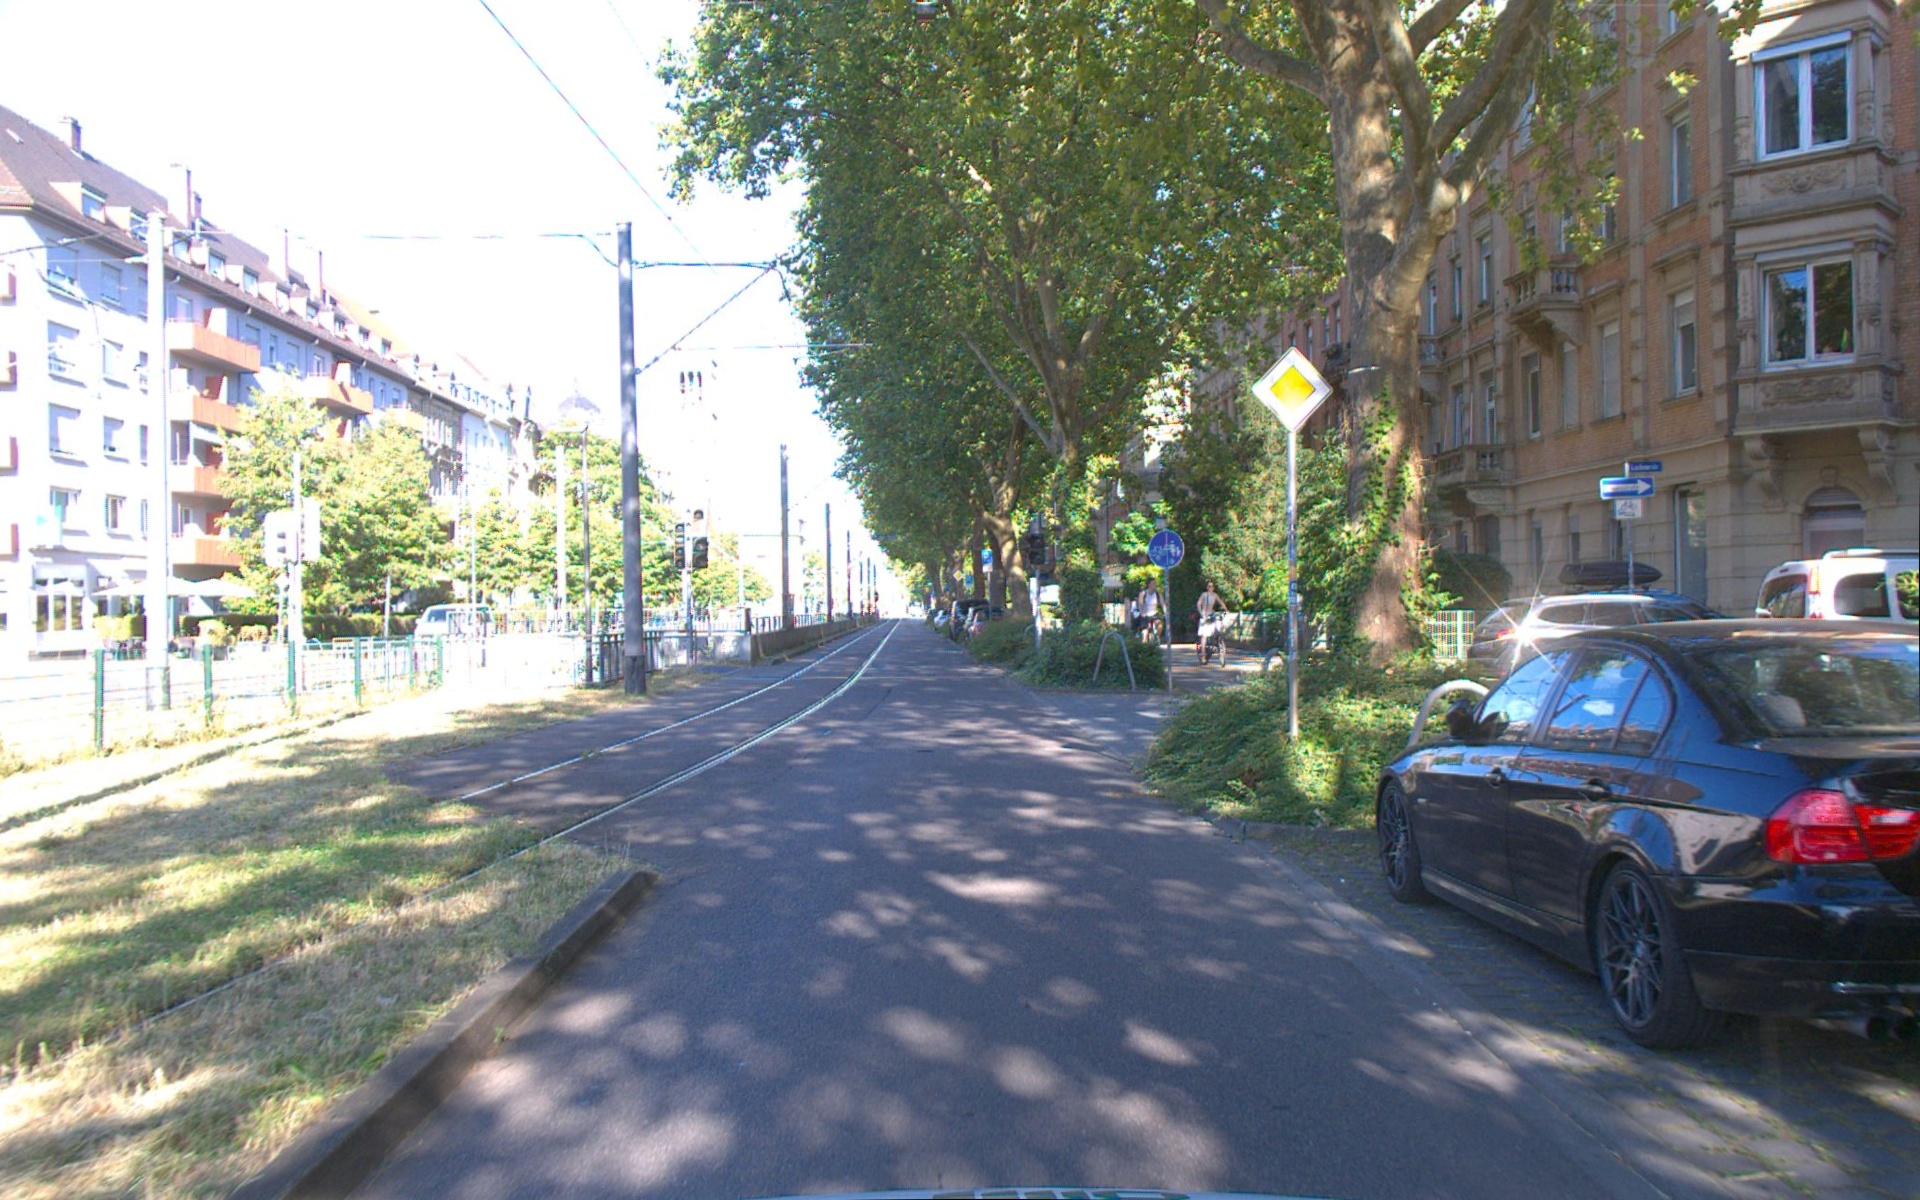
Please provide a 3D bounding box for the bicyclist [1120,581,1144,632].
[{"bbox_3d":[4.846,0.180,46.621,0.532,1.404,0.644,-2,1,-4],"label":"bicyclist"}]

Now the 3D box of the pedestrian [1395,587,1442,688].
[{"bbox_3d":[7.386,0.595,26.662,0.528,1.576,0.607,-2,2,-3],"label":"pedestrian"}]

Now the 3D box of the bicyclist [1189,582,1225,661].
[{"bbox_3d":[5.314,0.458,35.643,0.533,1.654,0.643,-2,0,-9],"label":"bicyclist"}]

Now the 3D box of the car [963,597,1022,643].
[{"bbox_3d":[1.071,0.701,56.032,1.680,1.488,3.997,0,-1,-3],"label":"car"}]

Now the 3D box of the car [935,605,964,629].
[{"bbox_3d":[-0.719,1.118,110.386,1.766,1.503,4.644,-1,0,-2],"label":"car"}]

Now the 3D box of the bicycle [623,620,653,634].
[{"bbox_3d":[-25.521,2.132,131.169,2.345,1.118,0.551,1,-1,-33],"label":"bicycle"}]

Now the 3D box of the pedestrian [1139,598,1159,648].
[{"bbox_3d":[6.417,0.766,56.098,0.519,1.656,0.617,-3,1,-2],"label":"pedestrian"}]

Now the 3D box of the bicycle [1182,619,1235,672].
[{"bbox_3d":[5.366,0.971,35.802,0.550,1.055,1.929,-3,1,-9],"label":"bicycle"}]

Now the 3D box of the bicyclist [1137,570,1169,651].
[{"bbox_3d":[4.042,0.219,34.637,0.532,1.653,0.644,-2,2,-4],"label":"bicyclist"}]

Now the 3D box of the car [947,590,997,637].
[{"bbox_3d":[0.536,0.608,78.103,1.954,2.049,5.198,-2,0,-3],"label":"car"}]

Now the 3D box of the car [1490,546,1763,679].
[{"bbox_3d":[11.520,0.175,28.743,3.909,2.048,1.999,-2,3,-4],"label":"car"}]

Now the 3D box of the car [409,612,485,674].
[{"bbox_3d":[-18.812,1.574,60.818,1.958,2.049,4.999,-3,-1,-10],"label":"car"}]

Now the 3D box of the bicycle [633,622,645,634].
[{"bbox_3d":[-29.420,2.593,151.550,0.450,1.023,1.922,1,-4,-32],"label":"bicycle"}]

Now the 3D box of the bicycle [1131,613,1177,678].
[{"bbox_3d":[4.059,0.933,34.673,0.549,1.198,2.225,-2,2,-3],"label":"bicycle"}]

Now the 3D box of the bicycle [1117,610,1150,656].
[{"bbox_3d":[4.875,0.914,46.644,0.549,1.199,2.224,-1,1,-3],"label":"bicycle"}]

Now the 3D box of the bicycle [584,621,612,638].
[{"bbox_3d":[-25.277,2.054,115.417,1.771,1.199,0.562,1,-1,0],"label":"bicycle"}]

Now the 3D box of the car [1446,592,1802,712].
[{"bbox_3d":[9.657,0.744,24.254,4.458,1.566,1.906,2,-1,-4],"label":"car"}]

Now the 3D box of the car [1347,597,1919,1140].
[{"bbox_3d":[3.030,0.736,6.829,1.642,1.418,4.568,-3,0,-1],"label":"car"}]

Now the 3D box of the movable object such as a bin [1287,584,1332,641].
[{"bbox_3d":[9.572,0.343,45.308,0.889,1.490,1.083,-3,0,-3],"label":"movable object such as a bin"}]

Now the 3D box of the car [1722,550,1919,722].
[{"bbox_3d":[11.595,0.367,19.362,4.456,1.878,1.906,-1,0,-3],"label":"car"}]

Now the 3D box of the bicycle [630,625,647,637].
[{"bbox_3d":[-25.631,2.473,131.777,1.253,0.921,0.533,1,-1,-33],"label":"bicycle"}]

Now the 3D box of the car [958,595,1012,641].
[{"bbox_3d":[0.899,0.684,61.871,1.680,1.576,4.498,-3,-1,-2],"label":"car"}]
